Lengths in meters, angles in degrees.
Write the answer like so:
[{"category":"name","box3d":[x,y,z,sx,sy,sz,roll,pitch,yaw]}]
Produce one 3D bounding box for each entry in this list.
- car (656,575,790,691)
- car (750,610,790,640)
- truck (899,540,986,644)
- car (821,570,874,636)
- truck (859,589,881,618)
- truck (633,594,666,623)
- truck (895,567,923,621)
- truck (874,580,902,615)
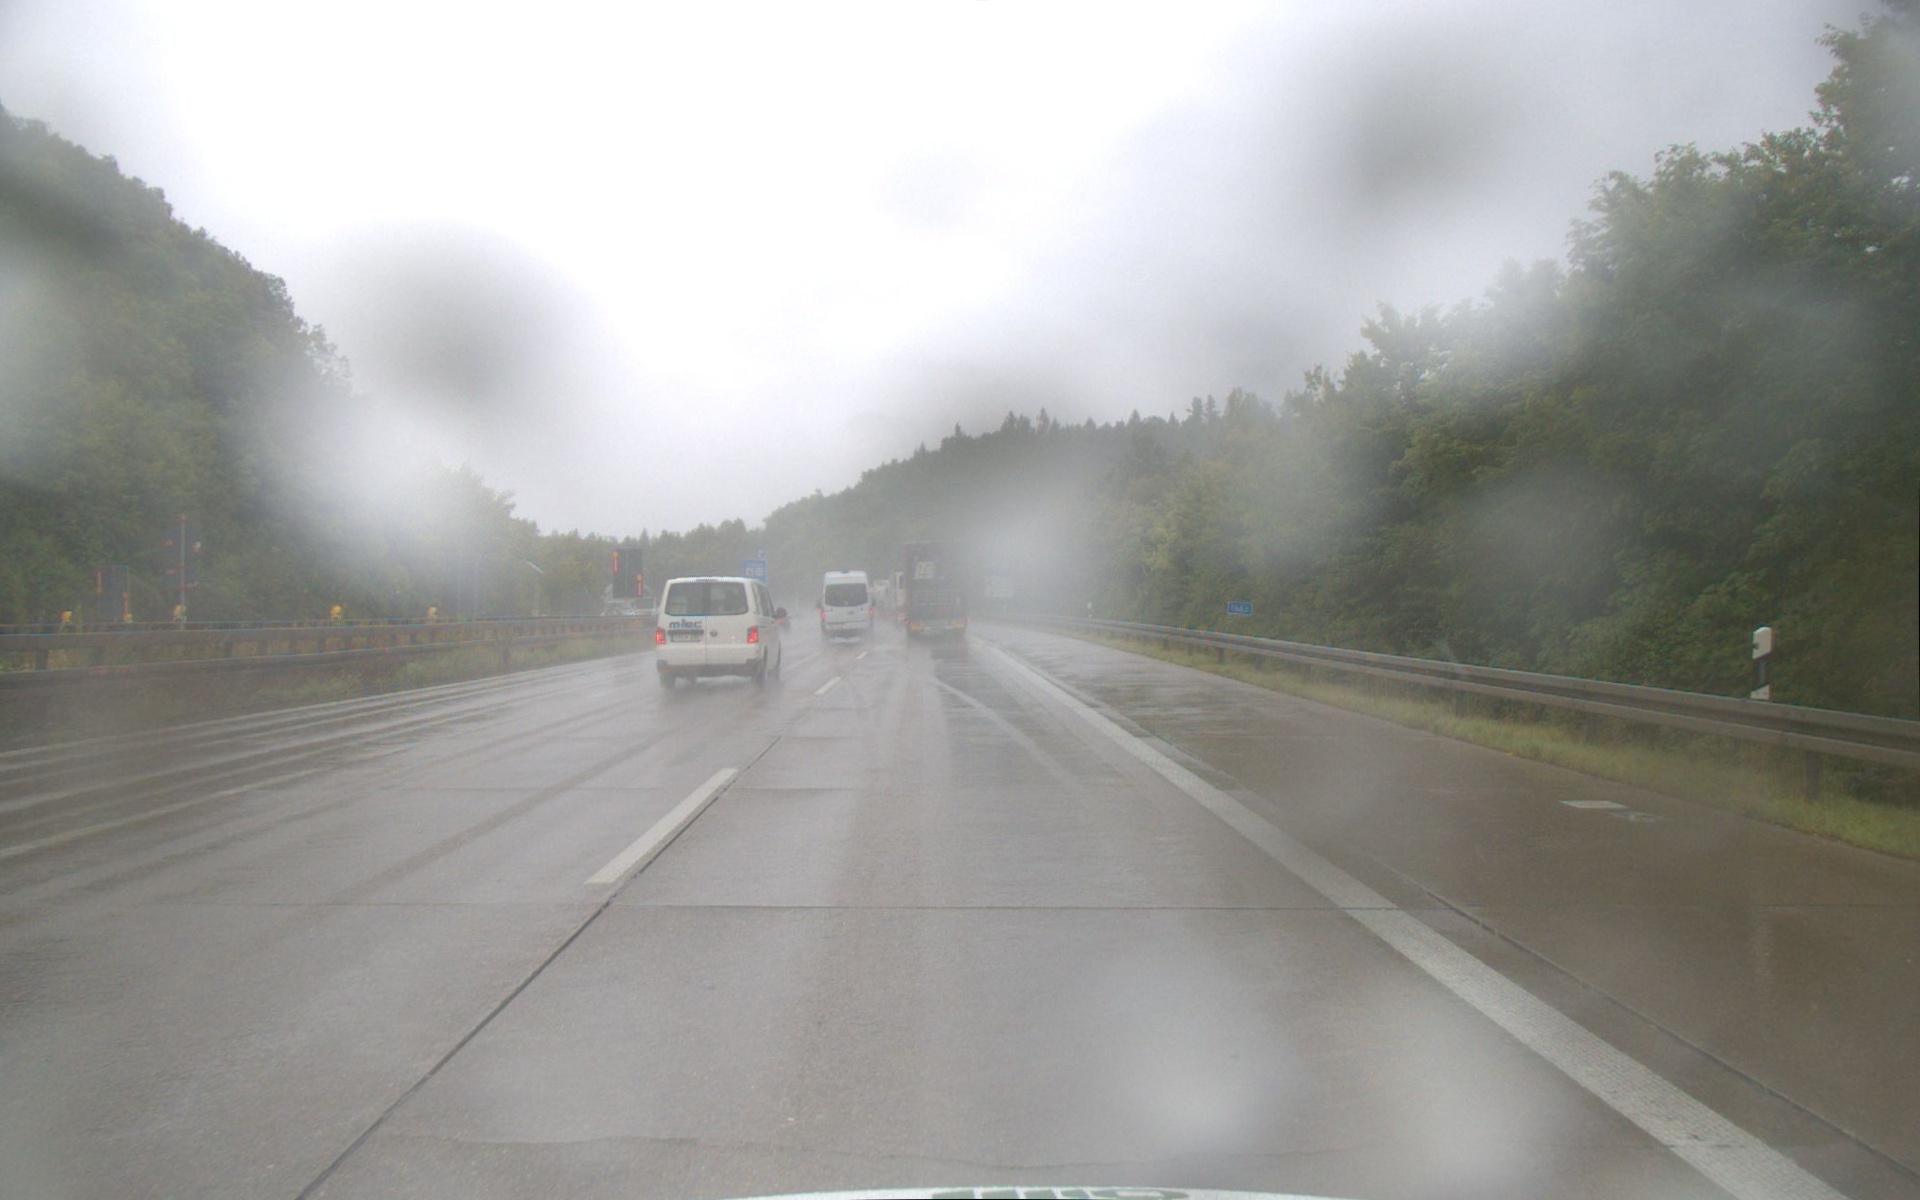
[{"category":"car","box3d":[-4.245,0.565,30.384,1.861,1.927,5.041,0,0,-2]},{"category":"car","box3d":[-9.471,1.238,82.554,1.706,1.412,4.318,0,-1,-3]},{"category":"truck","box3d":[-0.866,-0.460,71.557,3.317,4.036,8.664,-3,2,-2]},{"category":"car","box3d":[-4.287,0.104,62.463,1.862,2.374,5.245,-1,0,-5]},{"category":"truck","box3d":[-10.402,0.415,190.992,1.956,3.225,6.720,-1,0,-8]},{"category":"truck","box3d":[-33.807,0.911,180.395,2.251,3.071,7.920,1,0,-1]},{"category":"truck","box3d":[-3.782,-0.429,122.962,1.953,3.872,6.730,-1,0,-2]},{"category":"truck","box3d":[-6.926,-0.185,158.682,1.956,3.225,6.720,-1,0,-8]}]
